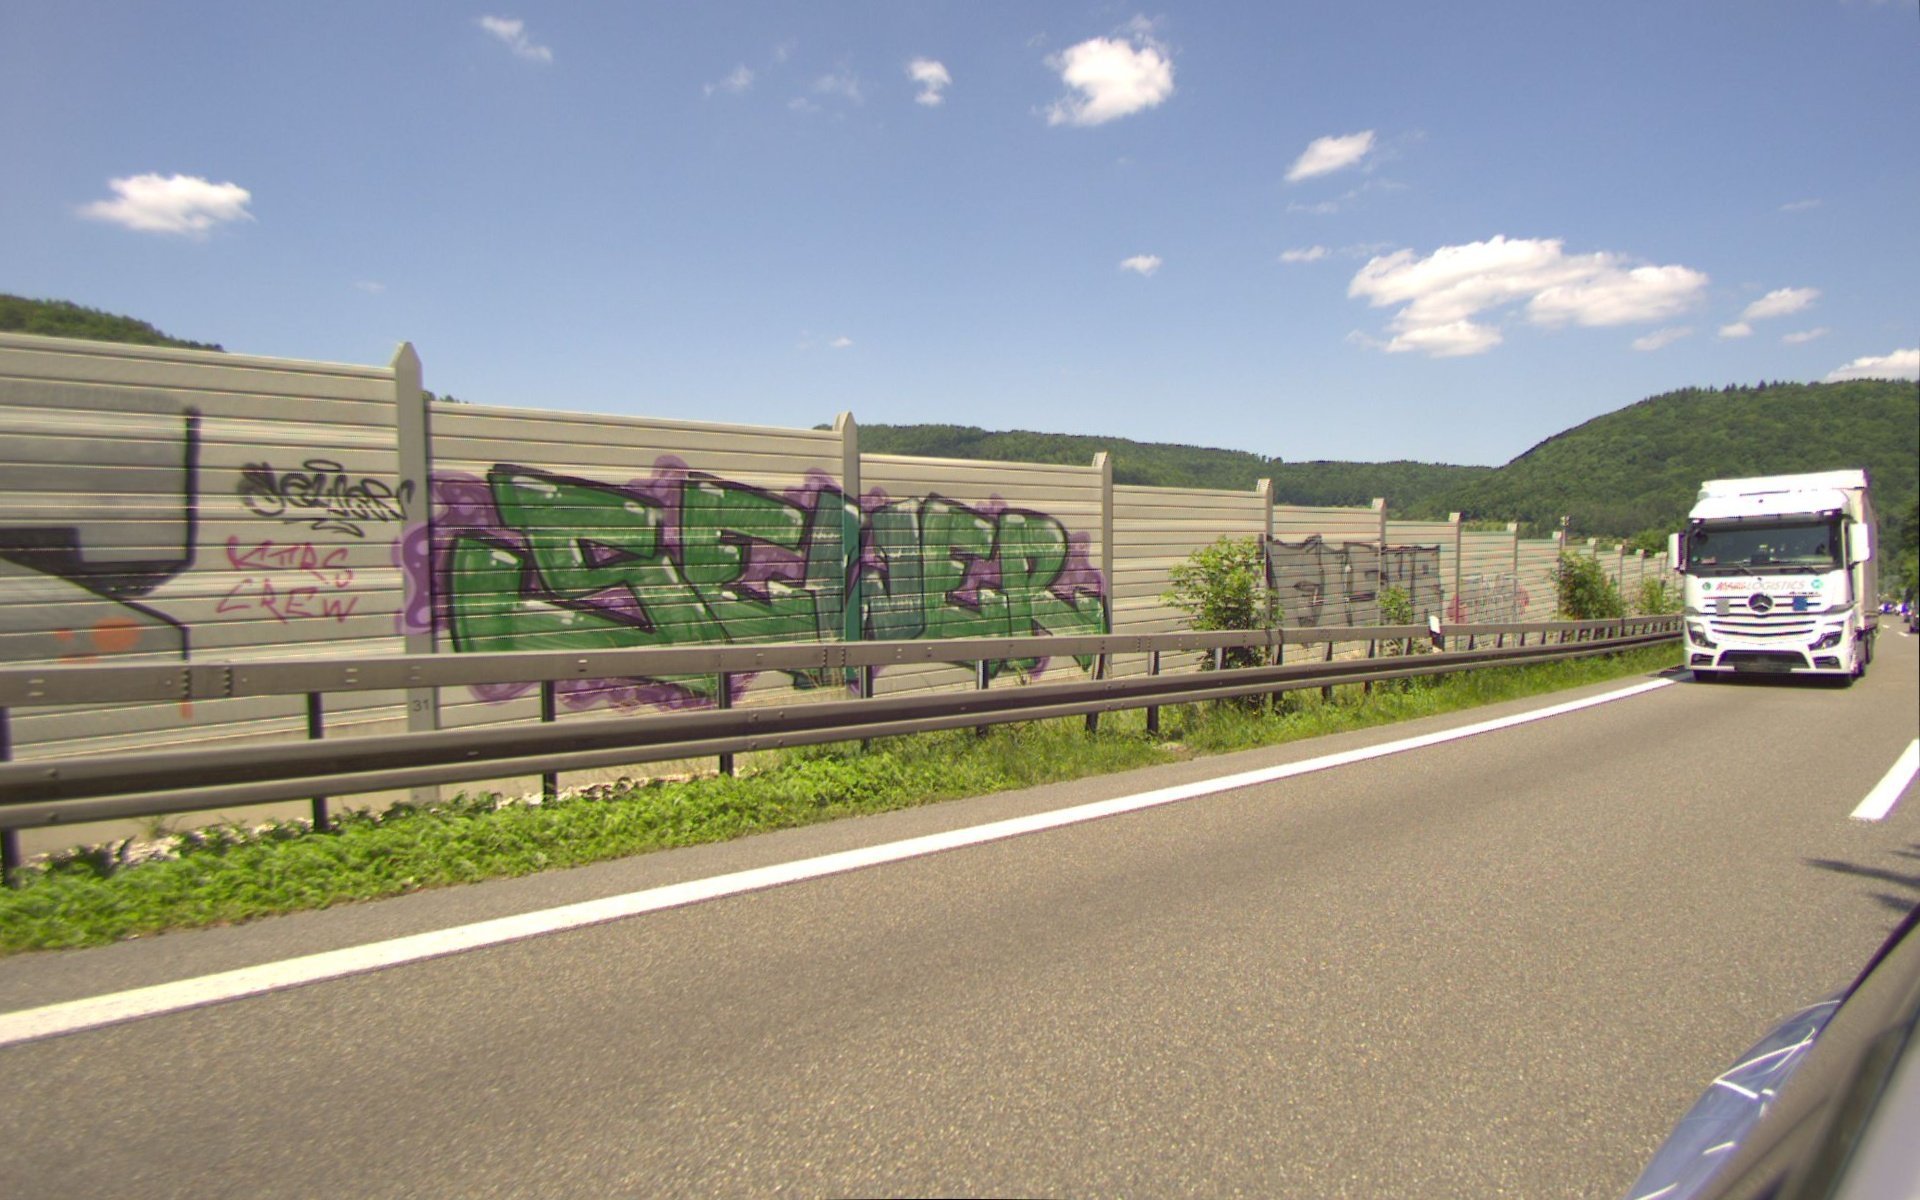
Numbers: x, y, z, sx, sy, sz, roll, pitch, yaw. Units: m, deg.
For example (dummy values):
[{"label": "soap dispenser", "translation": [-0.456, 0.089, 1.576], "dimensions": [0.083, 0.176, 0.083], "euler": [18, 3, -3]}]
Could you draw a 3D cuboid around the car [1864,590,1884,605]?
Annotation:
[{"label": "car", "translation": [130.828, -0.360, 144.900], "dimensions": [1.994, 2.039, 3.938], "euler": [2, 1, 43]}]

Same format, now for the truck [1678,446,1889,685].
[{"label": "truck", "translation": [16.987, -0.602, 20.694], "dimensions": [2.757, 4.090, 6.714], "euler": [0, 0, 44]}]

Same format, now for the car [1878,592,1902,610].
[{"label": "car", "translation": [108.614, 0.148, 118.217], "dimensions": [1.994, 2.039, 3.937], "euler": [2, 1, 43]}]

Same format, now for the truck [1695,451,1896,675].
[{"label": "truck", "translation": [20.350, -0.654, 24.254], "dimensions": [2.854, 4.201, 11.856], "euler": [-1, -1, 43]}]

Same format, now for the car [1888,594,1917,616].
[{"label": "car", "translation": [93.452, 0.466, 100.389], "dimensions": [1.993, 2.039, 3.939], "euler": [2, 1, 42]}]
